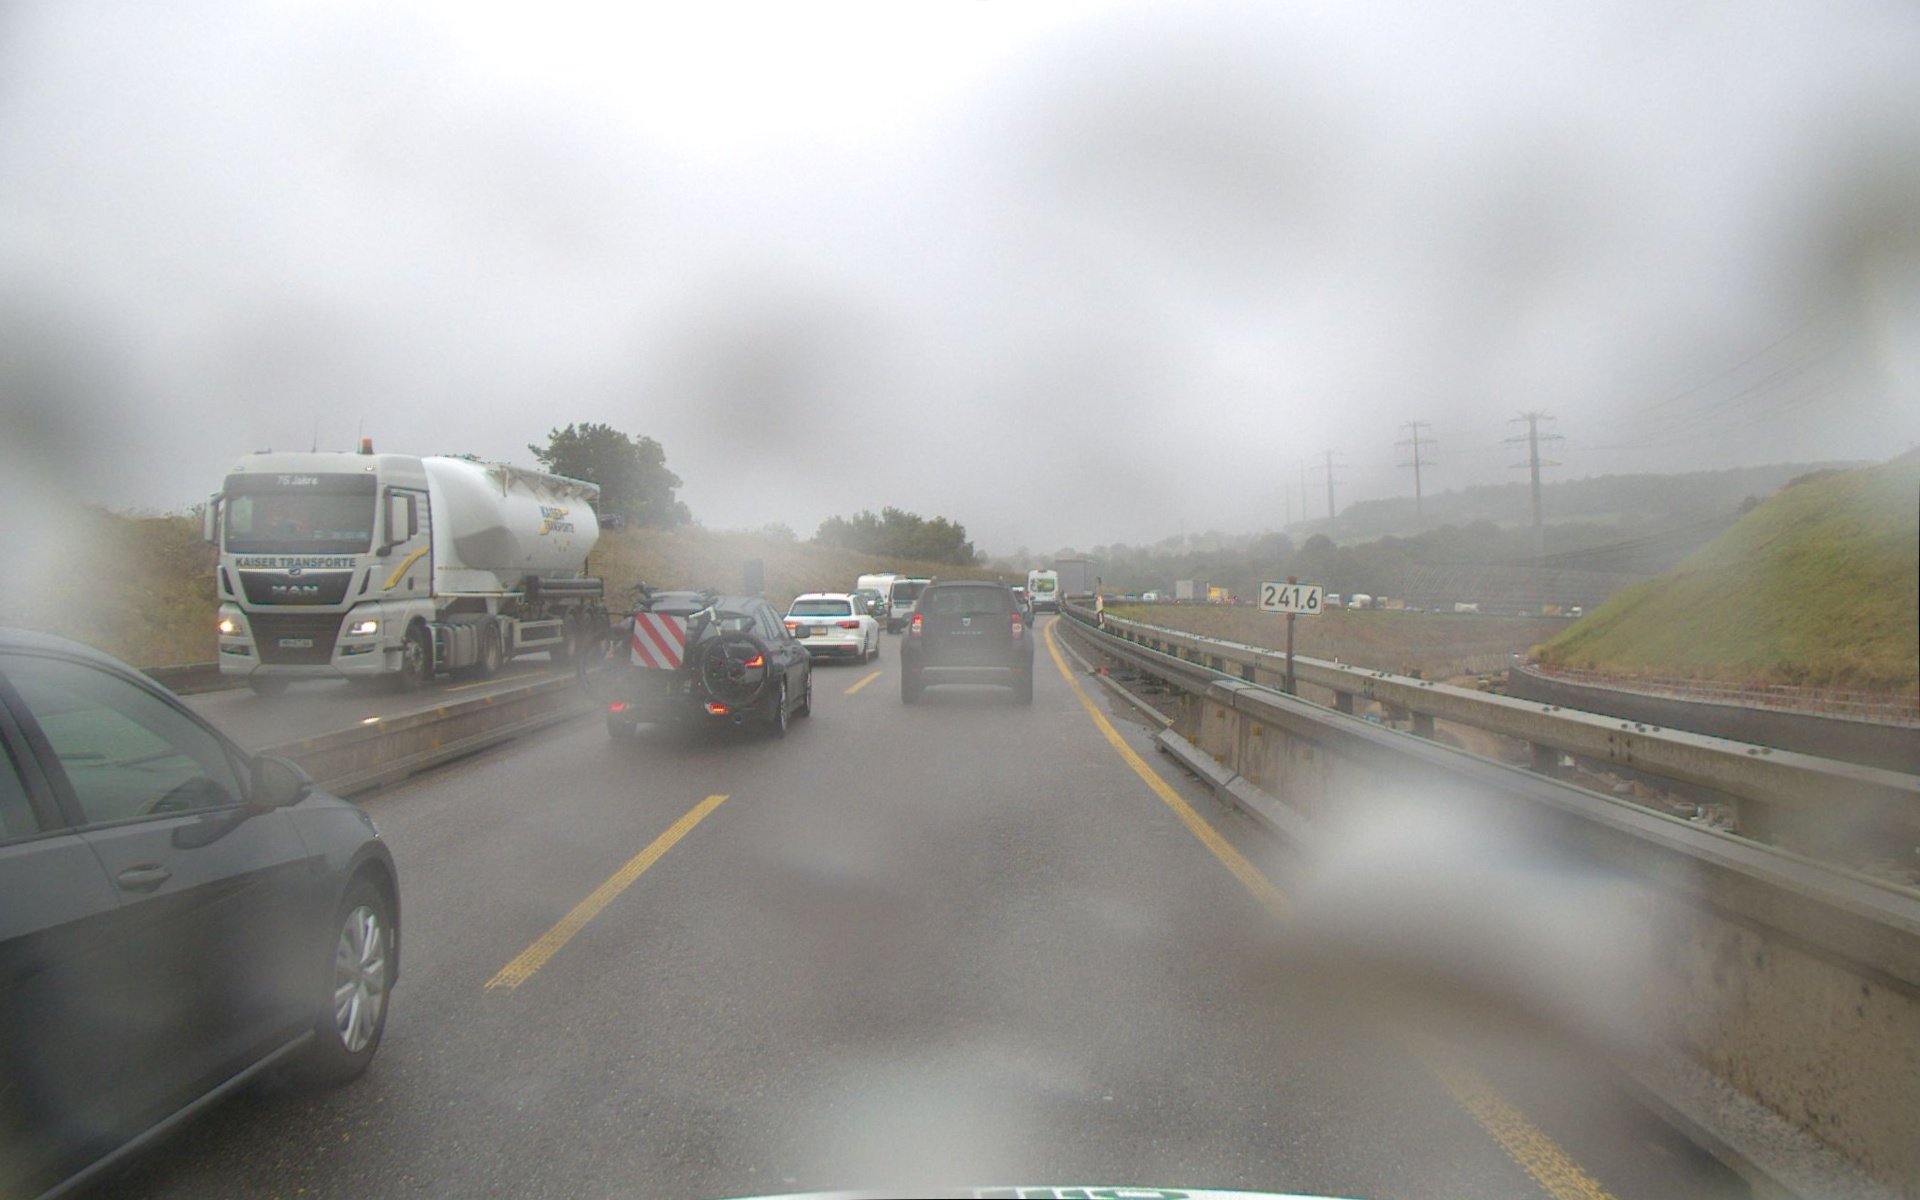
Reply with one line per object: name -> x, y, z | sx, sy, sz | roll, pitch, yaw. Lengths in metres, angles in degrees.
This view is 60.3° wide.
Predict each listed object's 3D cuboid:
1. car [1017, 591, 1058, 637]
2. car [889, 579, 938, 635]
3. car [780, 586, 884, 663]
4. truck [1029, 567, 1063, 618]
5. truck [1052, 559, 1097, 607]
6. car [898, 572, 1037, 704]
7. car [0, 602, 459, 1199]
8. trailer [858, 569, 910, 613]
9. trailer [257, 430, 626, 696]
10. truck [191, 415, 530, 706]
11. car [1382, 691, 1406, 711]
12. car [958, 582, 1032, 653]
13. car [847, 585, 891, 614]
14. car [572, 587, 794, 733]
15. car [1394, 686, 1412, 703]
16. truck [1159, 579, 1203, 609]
car -> 2.927, 0.512, 62.804 | 1.499, 1.669, 4.014 | 1, 0, 2
car -> -1.606, 0.230, 58.418 | 1.626, 1.913, 4.019 | 1, 0, -1
car -> -2.599, 0.477, 34.541 | 1.829, 1.486, 4.548 | 1, 0, 0
truck -> 5.588, -0.519, 108.404 | 2.104, 3.221, 6.461 | 1, 0, 2
truck -> 9.409, -1.359, 135.514 | 3.132, 3.827, 8.516 | 1, 0, 8
car -> 0.166, 0.489, 22.998 | 1.767, 1.674, 3.777 | 0, 0, 2
car -> -2.526, 0.799, 3.660 | 1.581, 1.532, 4.366 | -2, 0, -2
trailer -> -4.644, -0.603, 102.476 | 2.457, 2.609, 7.166 | 0, 1, 3
trailer -> -9.083, -0.565, 31.024 | 3.188, 4.033, 11.536 | -1, 0, 0
truck -> -9.137, -0.552, 26.043 | 3.165, 4.025, 5.881 | -1, 0, 0
car -> 51.287, 11.908, 195.682 | 2.315, 2.049, 4.003 | 1, 0, 8
car -> 0.867, 0.427, 43.109 | 1.829, 1.738, 4.000 | 0, 0, 0
car -> -5.263, -0.051, 96.327 | 1.952, 1.614, 5.122 | 0, 1, 4
car -> -3.065, 0.627, 19.057 | 1.791, 1.502, 3.777 | 0, 0, 2
car -> 56.570, 12.054, 211.233 | 1.951, 1.847, 4.003 | 0, 0, 10
truck -> 32.773, -0.874, 244.571 | 4.617, 4.222, 15.694 | 1, 0, 14
